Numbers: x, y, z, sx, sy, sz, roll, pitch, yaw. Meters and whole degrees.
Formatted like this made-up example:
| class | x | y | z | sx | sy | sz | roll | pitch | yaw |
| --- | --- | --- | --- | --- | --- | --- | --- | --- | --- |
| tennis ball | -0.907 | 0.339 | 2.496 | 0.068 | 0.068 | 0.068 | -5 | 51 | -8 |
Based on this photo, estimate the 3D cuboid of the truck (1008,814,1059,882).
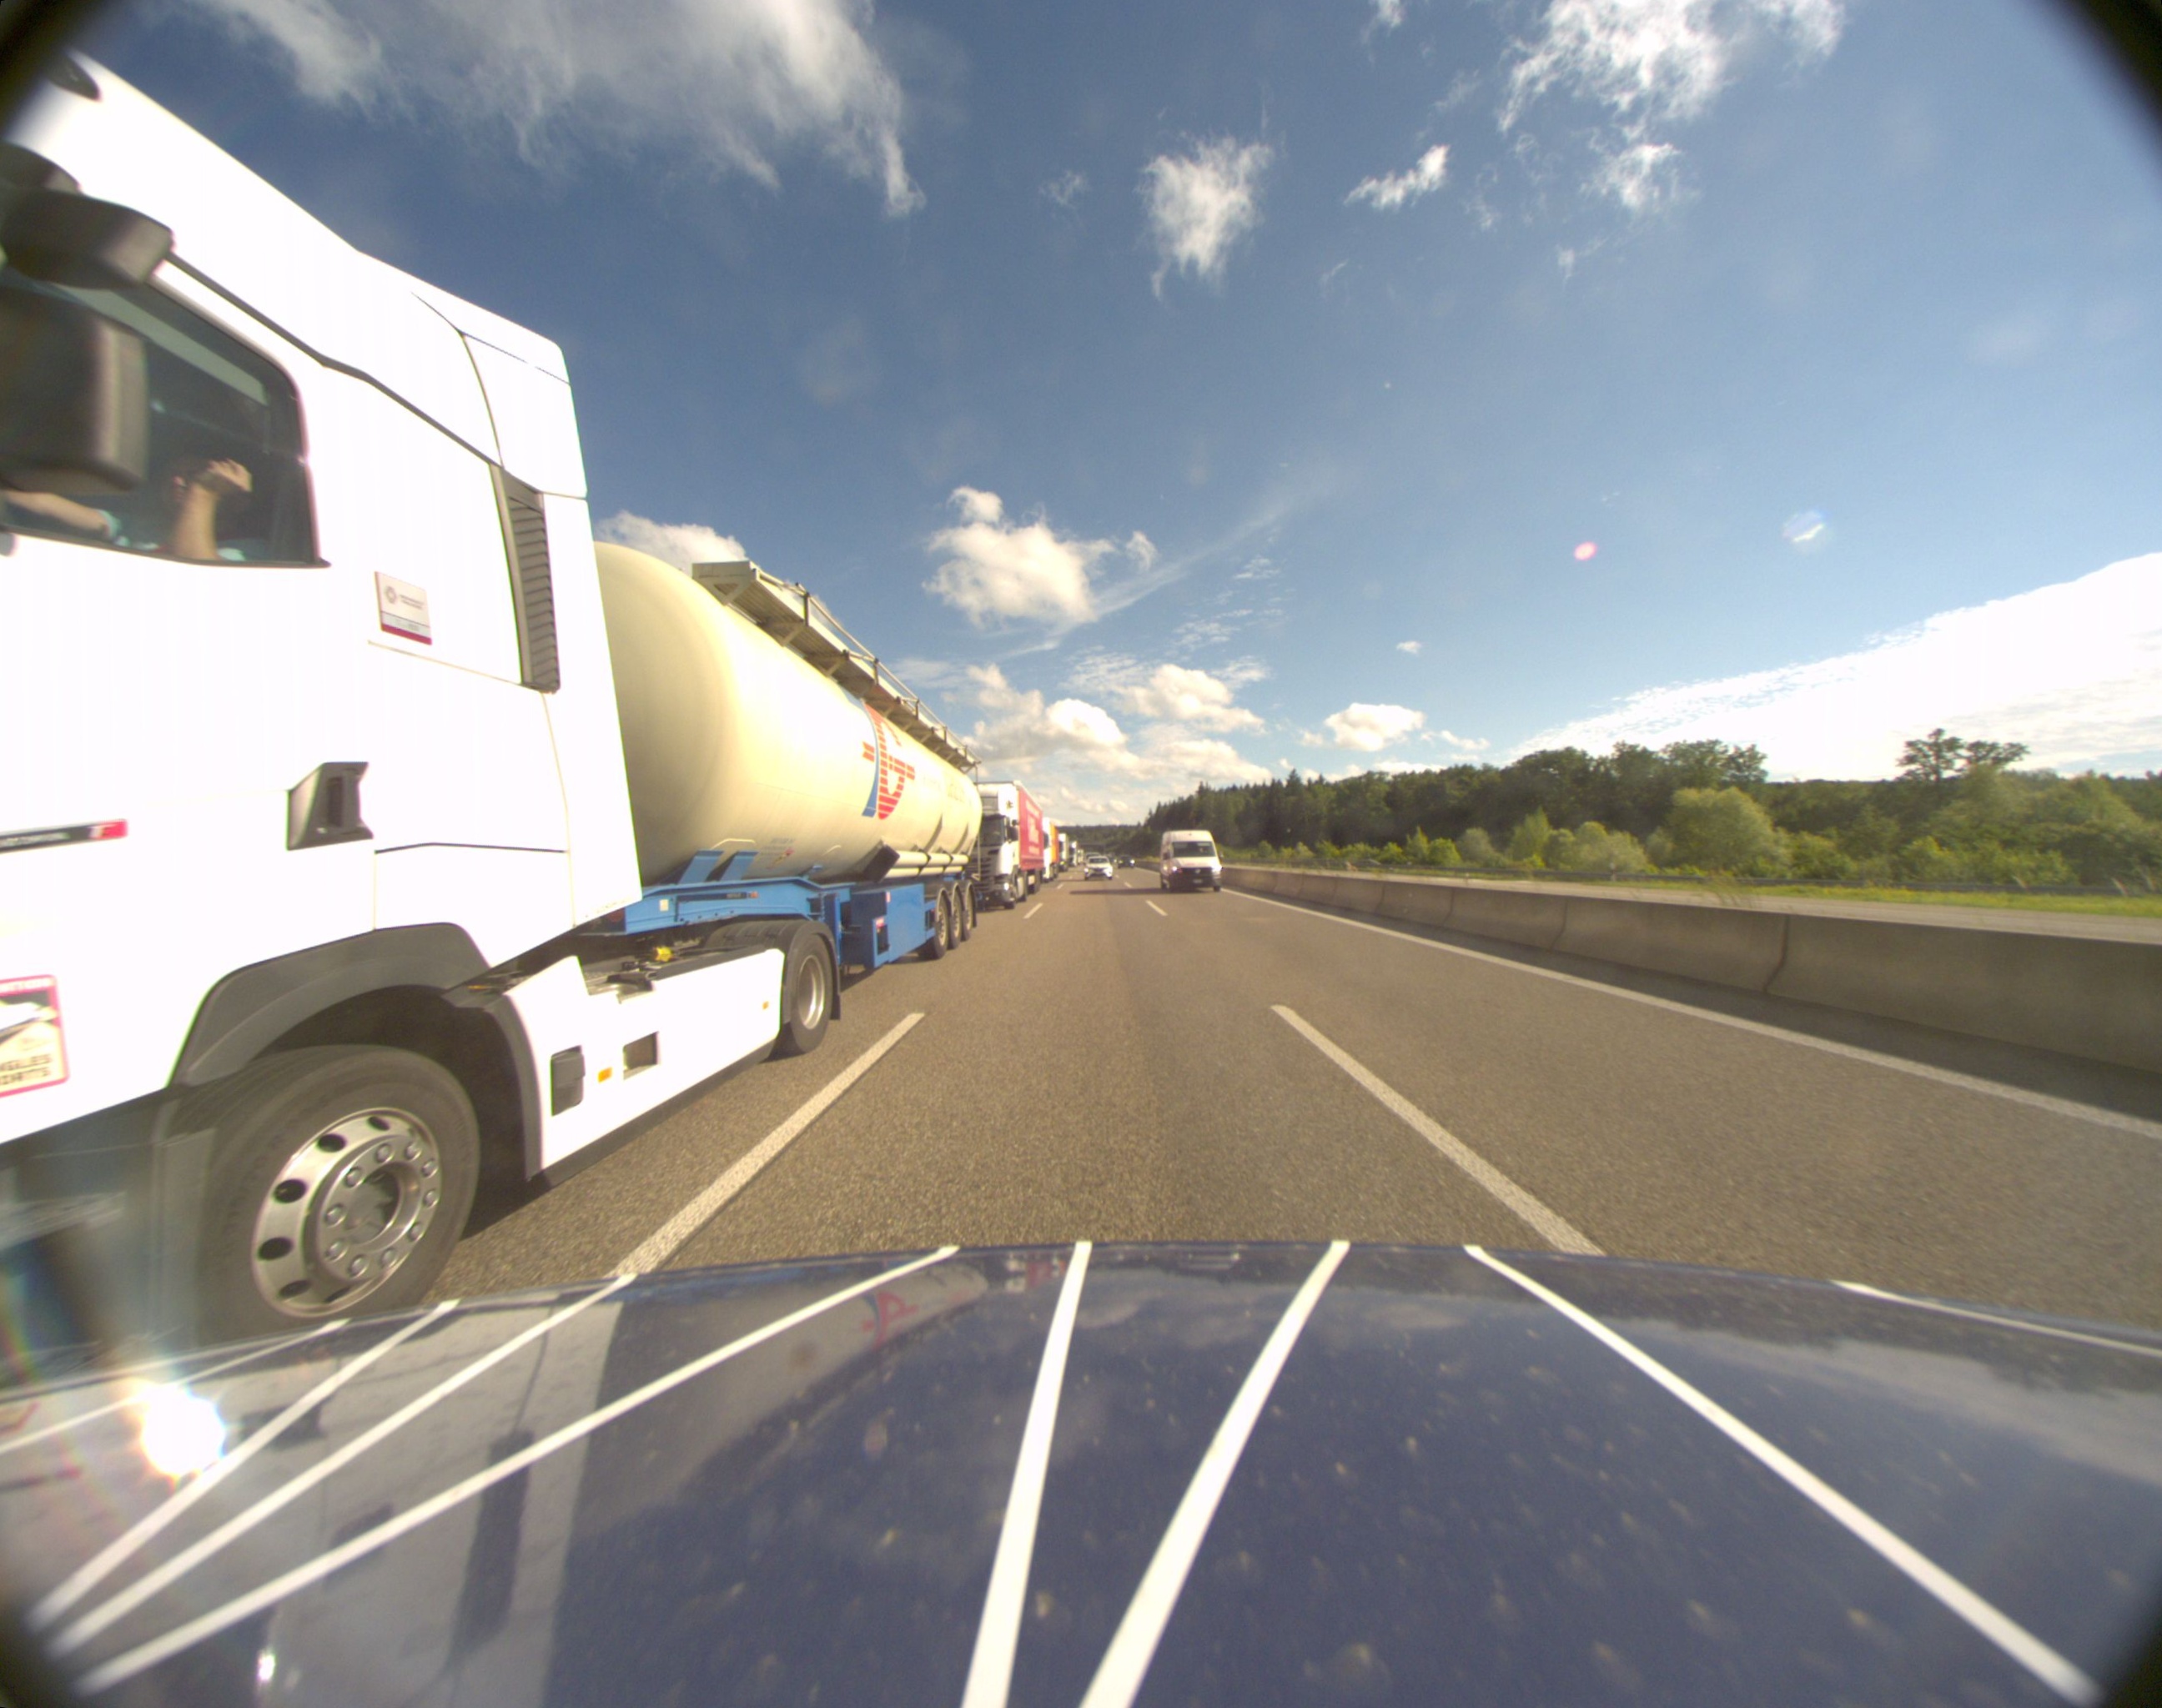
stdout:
| class | x | y | z | sx | sy | sz | roll | pitch | yaw |
| --- | --- | --- | --- | --- | --- | --- | --- | --- | --- |
| truck | -2.911 | -0.344 | 48.101 | 2.634 | 3.959 | 5.956 | -2 | 0 | 1 |

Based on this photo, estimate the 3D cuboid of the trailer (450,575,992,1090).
| class | x | y | z | sx | sy | sz | roll | pitch | yaw |
| --- | --- | --- | --- | --- | --- | --- | --- | --- | --- |
| trailer | -3.440 | -0.227 | 11.498 | 2.652 | 3.912 | 11.173 | -2 | 1 | 0 |

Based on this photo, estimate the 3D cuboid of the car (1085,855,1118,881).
| class | x | y | z | sx | sy | sz | roll | pitch | yaw |
| --- | --- | --- | --- | --- | --- | --- | --- | --- | --- |
| car | 1.410 | 0.864 | 49.653 | 2.026 | 1.511 | 5.299 | 1 | 0 | 3 |

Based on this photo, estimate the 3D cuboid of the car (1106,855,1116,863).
| class | x | y | z | sx | sy | sz | roll | pitch | yaw |
| --- | --- | --- | --- | --- | --- | --- | --- | --- | --- |
| car | 5.883 | 0.955 | 149.767 | 1.778 | 1.451 | 4.158 | 1 | 1 | 2 |

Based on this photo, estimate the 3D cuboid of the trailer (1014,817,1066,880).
| class | x | y | z | sx | sy | sz | roll | pitch | yaw |
| --- | --- | --- | --- | --- | --- | --- | --- | --- | --- |
| trailer | -2.755 | -0.399 | 55.541 | 2.624 | 3.977 | 13.365 | -2 | 0 | 1 |

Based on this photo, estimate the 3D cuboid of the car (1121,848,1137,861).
| class | x | y | z | sx | sy | sz | roll | pitch | yaw |
| --- | --- | --- | --- | --- | --- | --- | --- | --- | --- |
| car | 5.935 | 0.046 | 93.612 | 1.778 | 1.533 | 4.158 | 1 | 1 | 2 |

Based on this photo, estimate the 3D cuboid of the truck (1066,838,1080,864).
| class | x | y | z | sx | sy | sz | roll | pitch | yaw |
| --- | --- | --- | --- | --- | --- | --- | --- | --- | --- |
| truck | -1.238 | -0.527 | 121.067 | 1.998 | 3.999 | 7.344 | -2 | 1 | 1 |

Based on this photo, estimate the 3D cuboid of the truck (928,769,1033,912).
| class | x | y | z | sx | sy | sz | roll | pitch | yaw |
| --- | --- | --- | --- | --- | --- | --- | --- | --- | --- |
| truck | -3.027 | -0.365 | 24.526 | 2.370 | 3.997 | 6.106 | -1 | 0 | 1 |

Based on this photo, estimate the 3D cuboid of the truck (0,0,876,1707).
| class | x | y | z | sx | sy | sz | roll | pitch | yaw |
| --- | --- | --- | --- | --- | --- | --- | --- | --- | --- |
| truck | -3.526 | -0.154 | 4.241 | 2.655 | 3.902 | 6.941 | -2 | 0 | 1 |

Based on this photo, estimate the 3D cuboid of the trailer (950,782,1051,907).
| class | x | y | z | sx | sy | sz | roll | pitch | yaw |
| --- | --- | --- | --- | --- | --- | --- | --- | --- | --- |
| trailer | -2.890 | -0.326 | 31.706 | 2.334 | 3.974 | 14.299 | -1 | 0 | 1 |

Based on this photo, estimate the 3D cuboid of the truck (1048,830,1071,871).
| class | x | y | z | sx | sy | sz | roll | pitch | yaw |
| --- | --- | --- | --- | --- | --- | --- | --- | --- | --- |
| truck | -2.208 | -0.406 | 79.817 | 1.998 | 4.025 | 5.869 | -2 | 1 | 1 |

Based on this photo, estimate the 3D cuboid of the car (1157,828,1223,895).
| class | x | y | z | sx | sy | sz | roll | pitch | yaw |
| --- | --- | --- | --- | --- | --- | --- | --- | --- | --- |
| car | 4.535 | 0.253 | 32.528 | 2.020 | 2.584 | 6.181 | 0 | 1 | 0 |

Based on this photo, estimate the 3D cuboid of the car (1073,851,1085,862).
| class | x | y | z | sx | sy | sz | roll | pitch | yaw |
| --- | --- | --- | --- | --- | --- | --- | --- | --- | --- |
| car | -0.344 | 0.486 | 151.730 | 2.129 | 2.030 | 4.697 | 1 | 0 | 3 |

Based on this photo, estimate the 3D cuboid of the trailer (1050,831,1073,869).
| class | x | y | z | sx | sy | sz | roll | pitch | yaw |
| --- | --- | --- | --- | --- | --- | --- | --- | --- | --- |
| trailer | -2.118 | -0.458 | 84.844 | 1.998 | 3.999 | 7.344 | -2 | 1 | 1 |
